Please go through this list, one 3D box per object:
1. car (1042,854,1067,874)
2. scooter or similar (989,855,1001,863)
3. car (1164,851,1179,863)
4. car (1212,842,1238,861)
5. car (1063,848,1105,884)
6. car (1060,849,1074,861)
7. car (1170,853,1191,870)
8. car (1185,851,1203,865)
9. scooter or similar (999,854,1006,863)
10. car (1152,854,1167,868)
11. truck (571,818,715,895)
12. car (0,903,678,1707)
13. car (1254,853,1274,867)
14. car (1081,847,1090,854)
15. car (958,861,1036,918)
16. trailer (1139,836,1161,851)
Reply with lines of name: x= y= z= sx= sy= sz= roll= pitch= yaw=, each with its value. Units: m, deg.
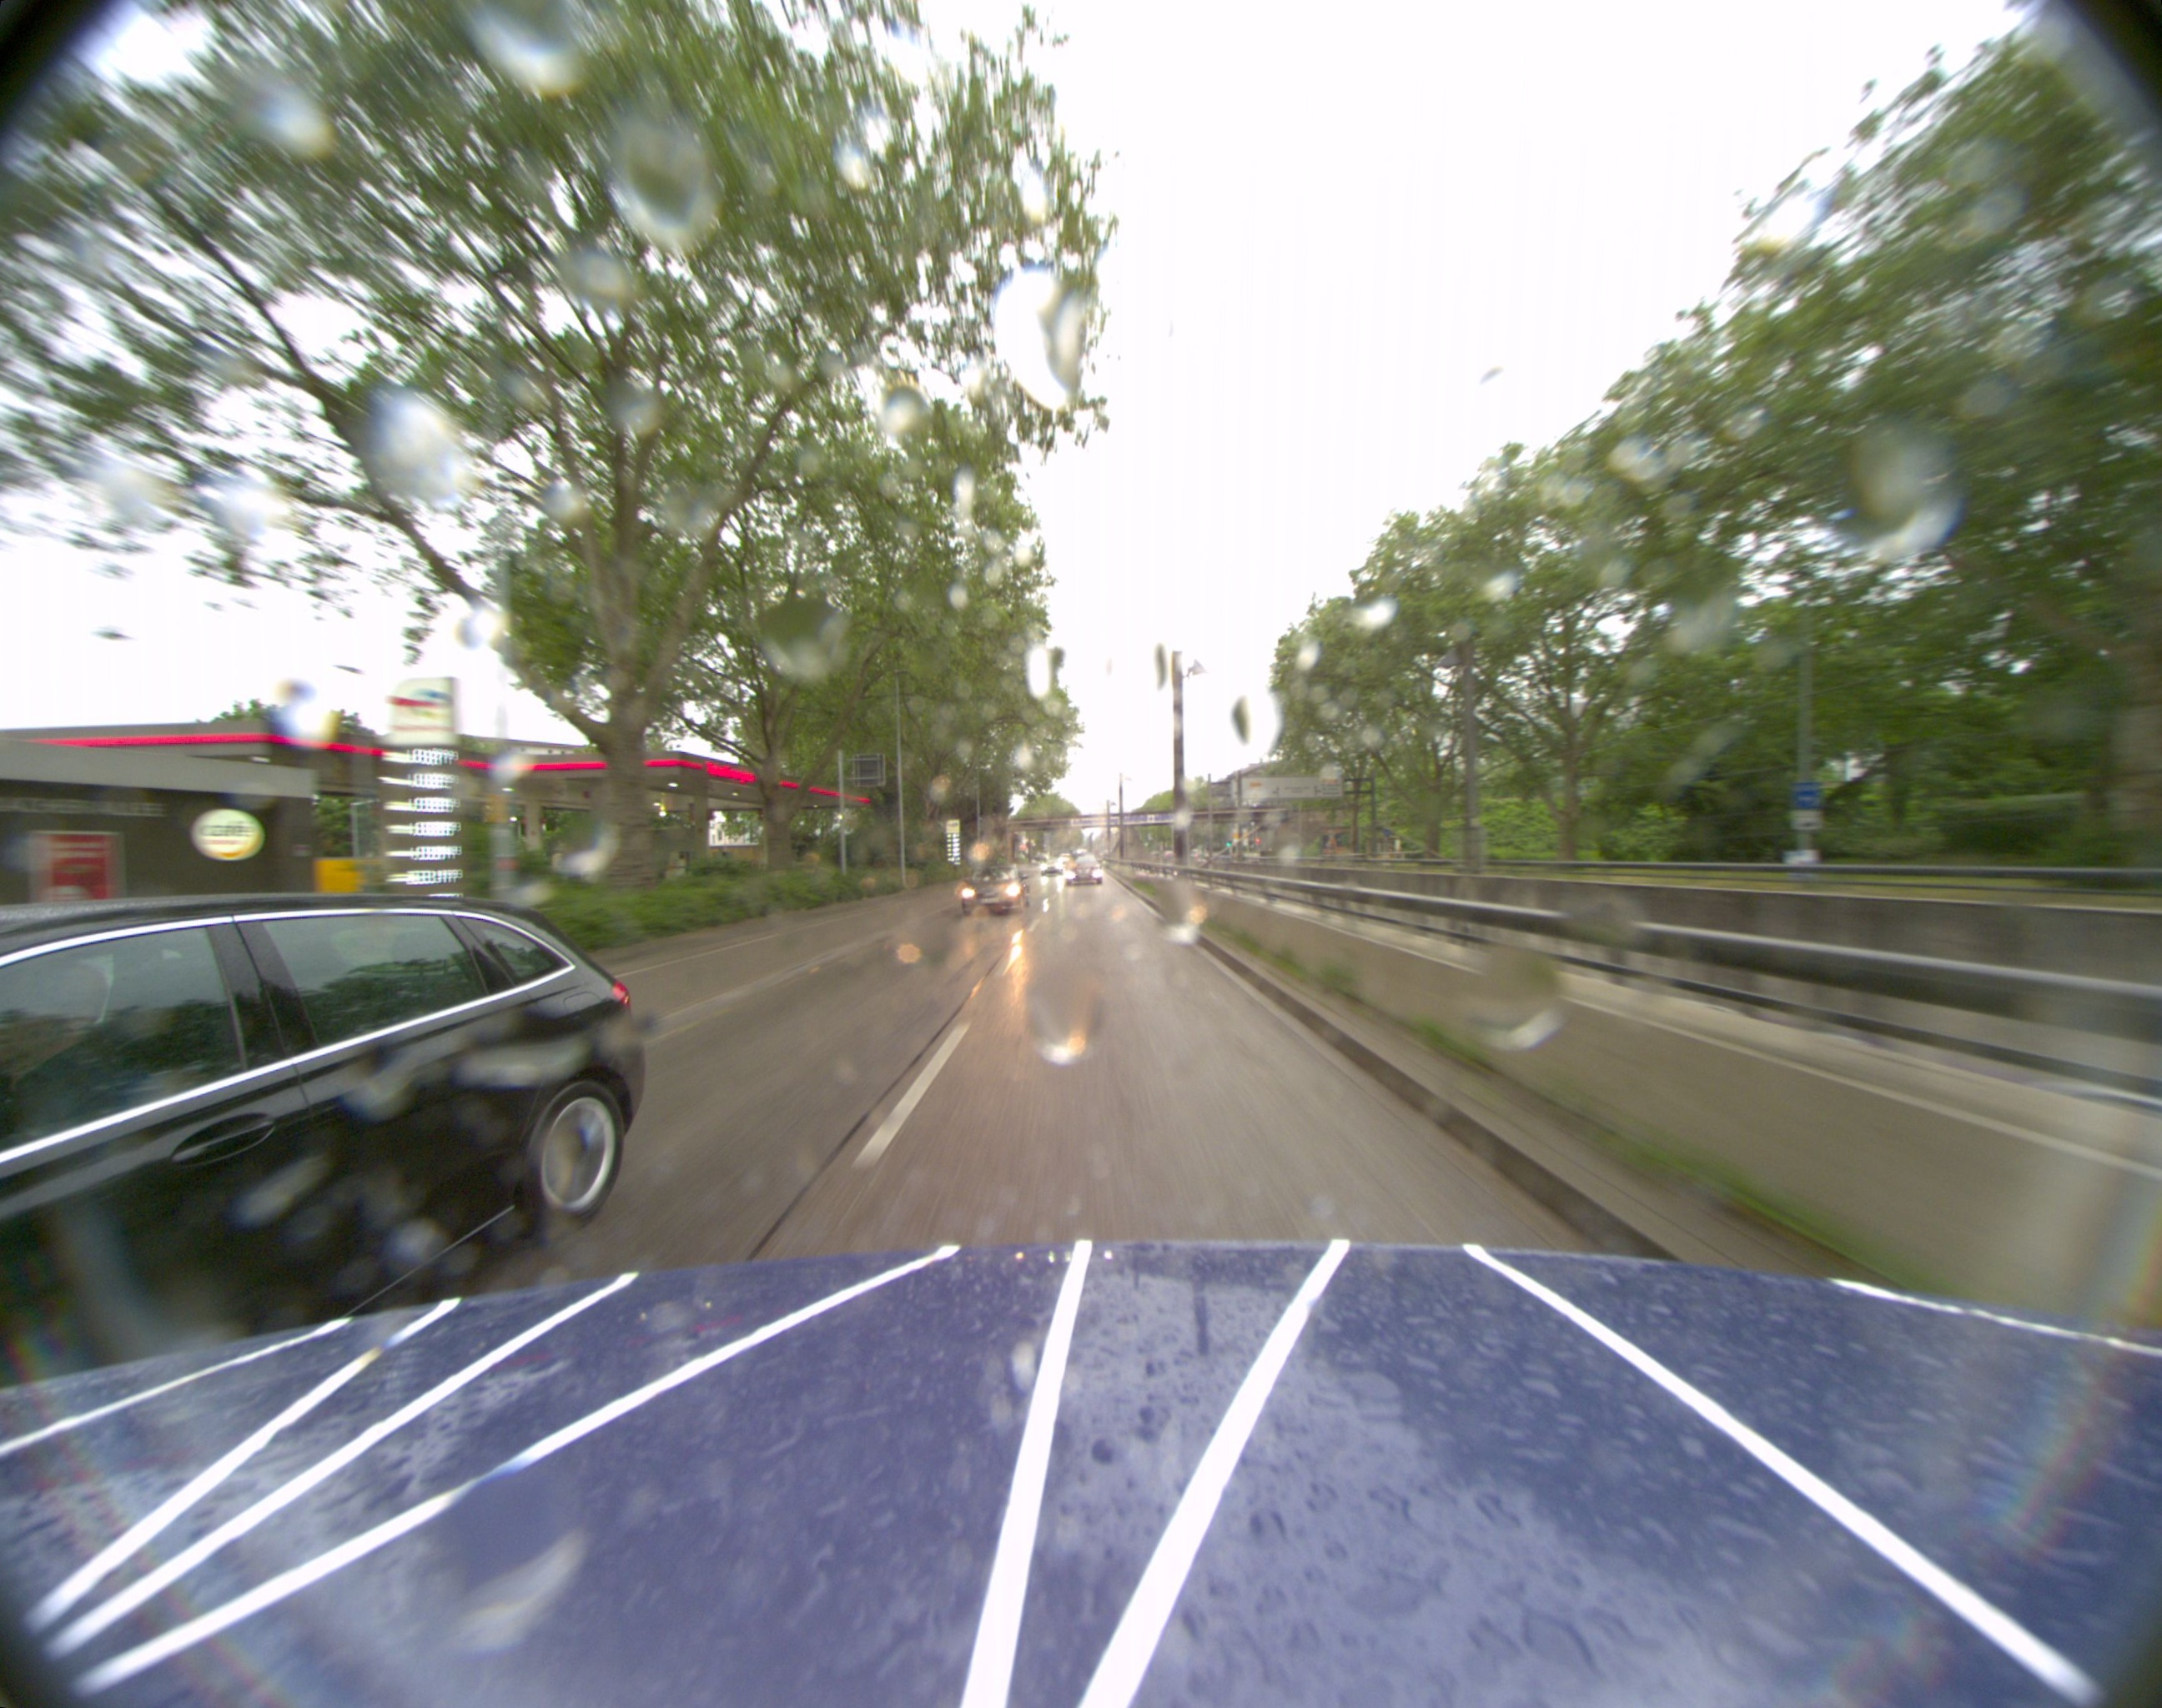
car: x=-2.169 y=0.833 z=62.810 sx=1.821 sy=1.520 sz=4.158 roll=-2 pitch=0 yaw=1
scooter or similar: x=-11.290 y=0.673 z=99.397 sx=0.452 sy=1.004 sz=1.742 roll=-2 pitch=1 yaw=38
car: x=16.024 y=0.545 z=134.102 sx=1.998 sy=2.002 sz=4.510 roll=-3 pitch=1 yaw=0
car: x=16.292 y=-0.277 z=85.900 sx=1.998 sy=2.002 sz=4.510 roll=-3 pitch=1 yaw=0
car: x=0.219 y=0.635 z=41.243 sx=1.974 sy=1.794 sz=4.159 roll=-2 pitch=0 yaw=3
car: x=-1.952 y=0.148 z=105.352 sx=1.869 sy=1.689 sz=4.425 roll=-2 pitch=0 yaw=0
car: x=12.891 y=1.004 z=98.347 sx=1.998 sy=2.002 sz=4.615 roll=-3 pitch=1 yaw=0
car: x=16.465 y=0.548 z=111.195 sx=1.998 sy=2.002 sz=3.999 roll=-3 pitch=1 yaw=0
scooter or similar: x=-10.473 y=0.550 z=101.141 sx=0.453 sy=1.152 sz=1.828 roll=-3 pitch=1 yaw=8
car: x=12.714 y=1.105 z=123.397 sx=1.998 sy=2.002 sz=3.999 roll=-3 pitch=1 yaw=0
truck: x=-21.666 y=0.085 z=38.210 sx=2.701 sy=3.332 sz=7.768 roll=-3 pitch=1 yaw=-1
car: x=-3.005 y=1.064 z=1.674 sx=1.821 sy=1.521 sz=4.421 roll=-2 pitch=1 yaw=0
car: x=27.849 y=0.874 z=115.568 sx=1.998 sy=2.002 sz=4.196 roll=-3 pitch=1 yaw=0
car: x=1.081 y=-0.777 z=182.003 sx=1.821 sy=1.520 sz=4.157 roll=-2 pitch=0 yaw=-3
car: x=-2.394 y=0.989 z=22.452 sx=1.641 sy=1.377 sz=3.782 roll=-3 pitch=1 yaw=3
trailer: x=16.181 y=-2.360 z=178.420 sx=3.331 sy=3.241 sz=11.117 roll=-3 pitch=0 yaw=-4
